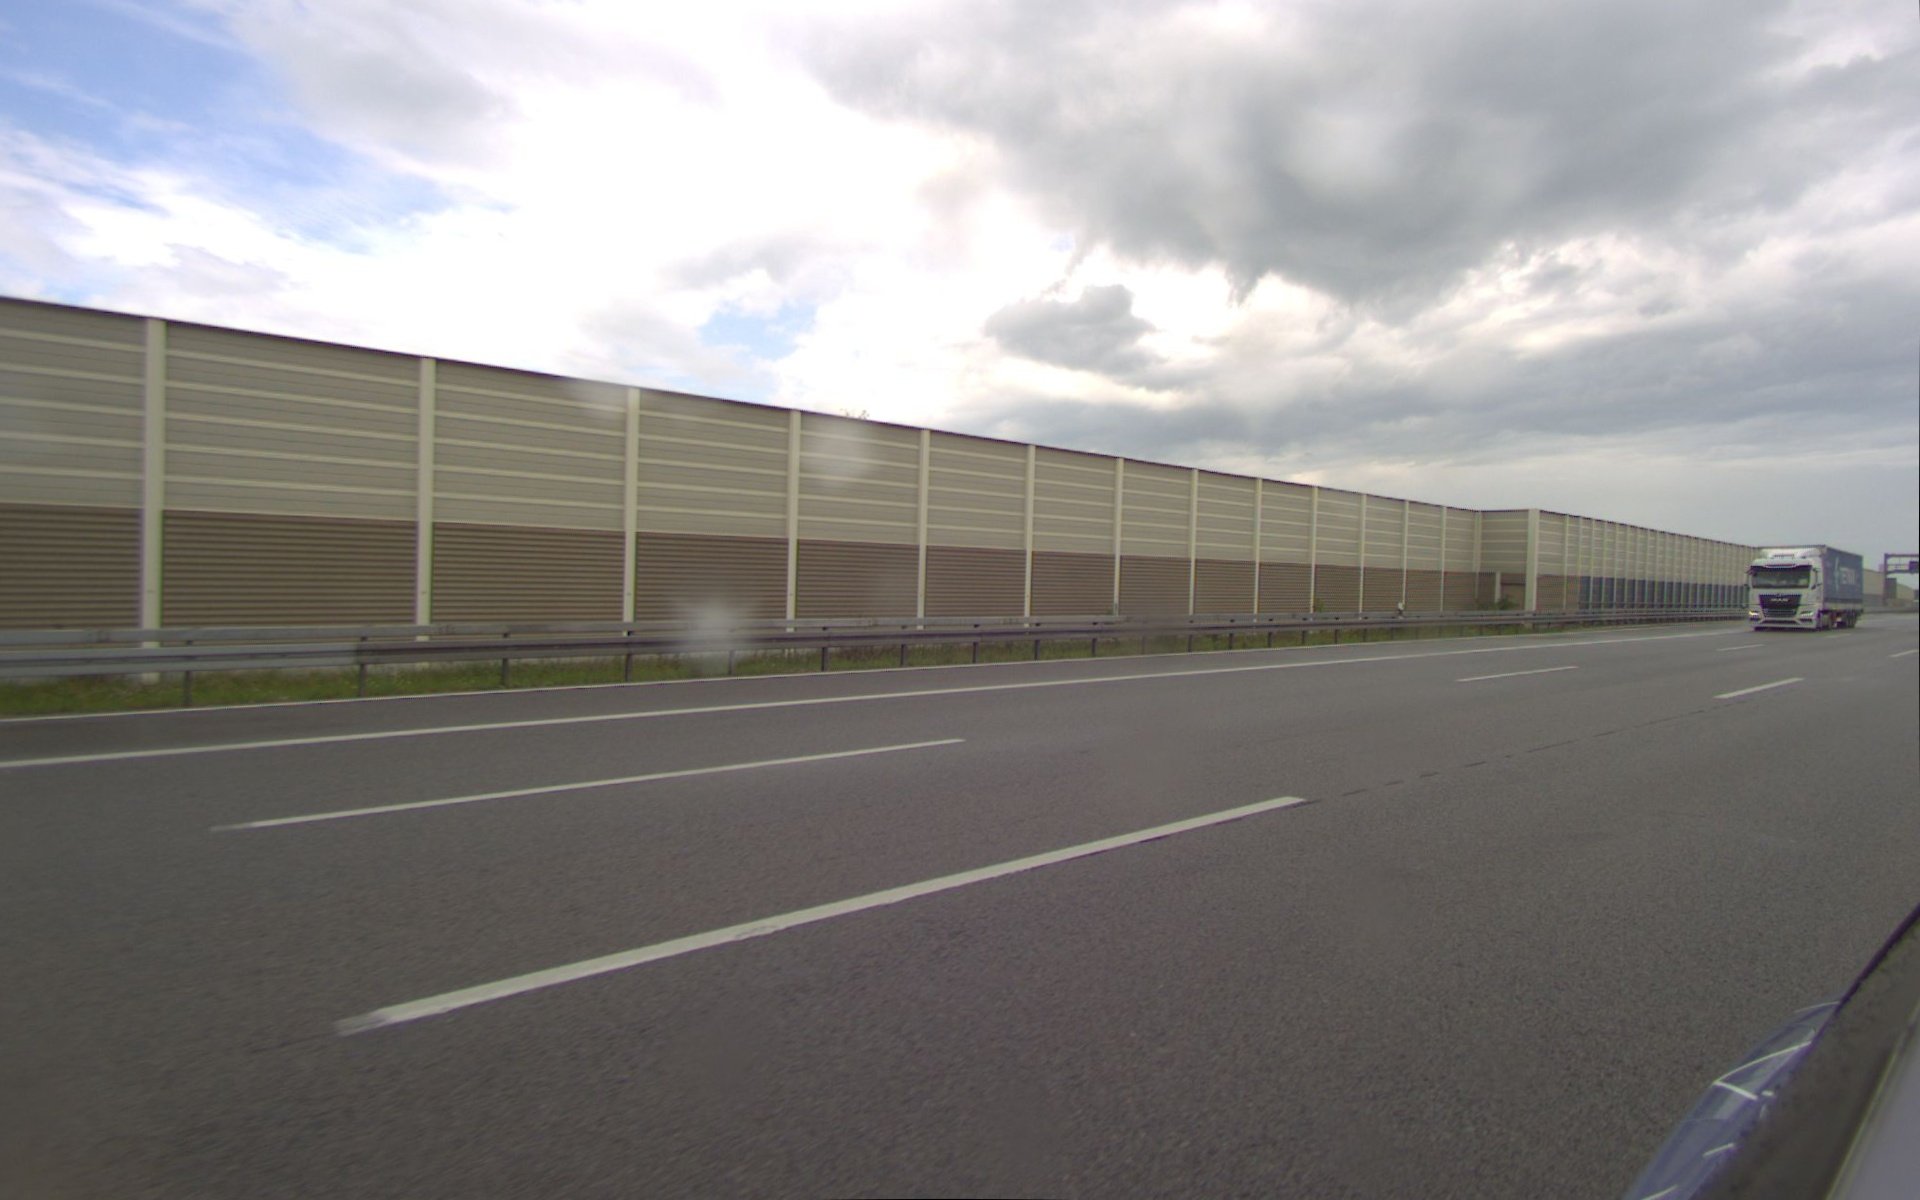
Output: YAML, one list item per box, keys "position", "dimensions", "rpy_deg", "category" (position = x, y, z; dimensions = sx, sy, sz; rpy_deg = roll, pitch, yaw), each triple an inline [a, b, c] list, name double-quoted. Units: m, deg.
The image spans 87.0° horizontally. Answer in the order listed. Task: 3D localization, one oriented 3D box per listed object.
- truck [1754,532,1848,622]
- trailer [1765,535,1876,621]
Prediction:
- position: [40.612, -1.064, 48.844]
  dimensions: [5.628, 4.086, 2.748]
  rpy_deg: [1, 0, -42]
  category: "truck"
- position: [45.903, -1.018, 53.733]
  dimensions: [14.206, 4.083, 2.765]
  rpy_deg: [0, 0, -43]
  category: "trailer"
